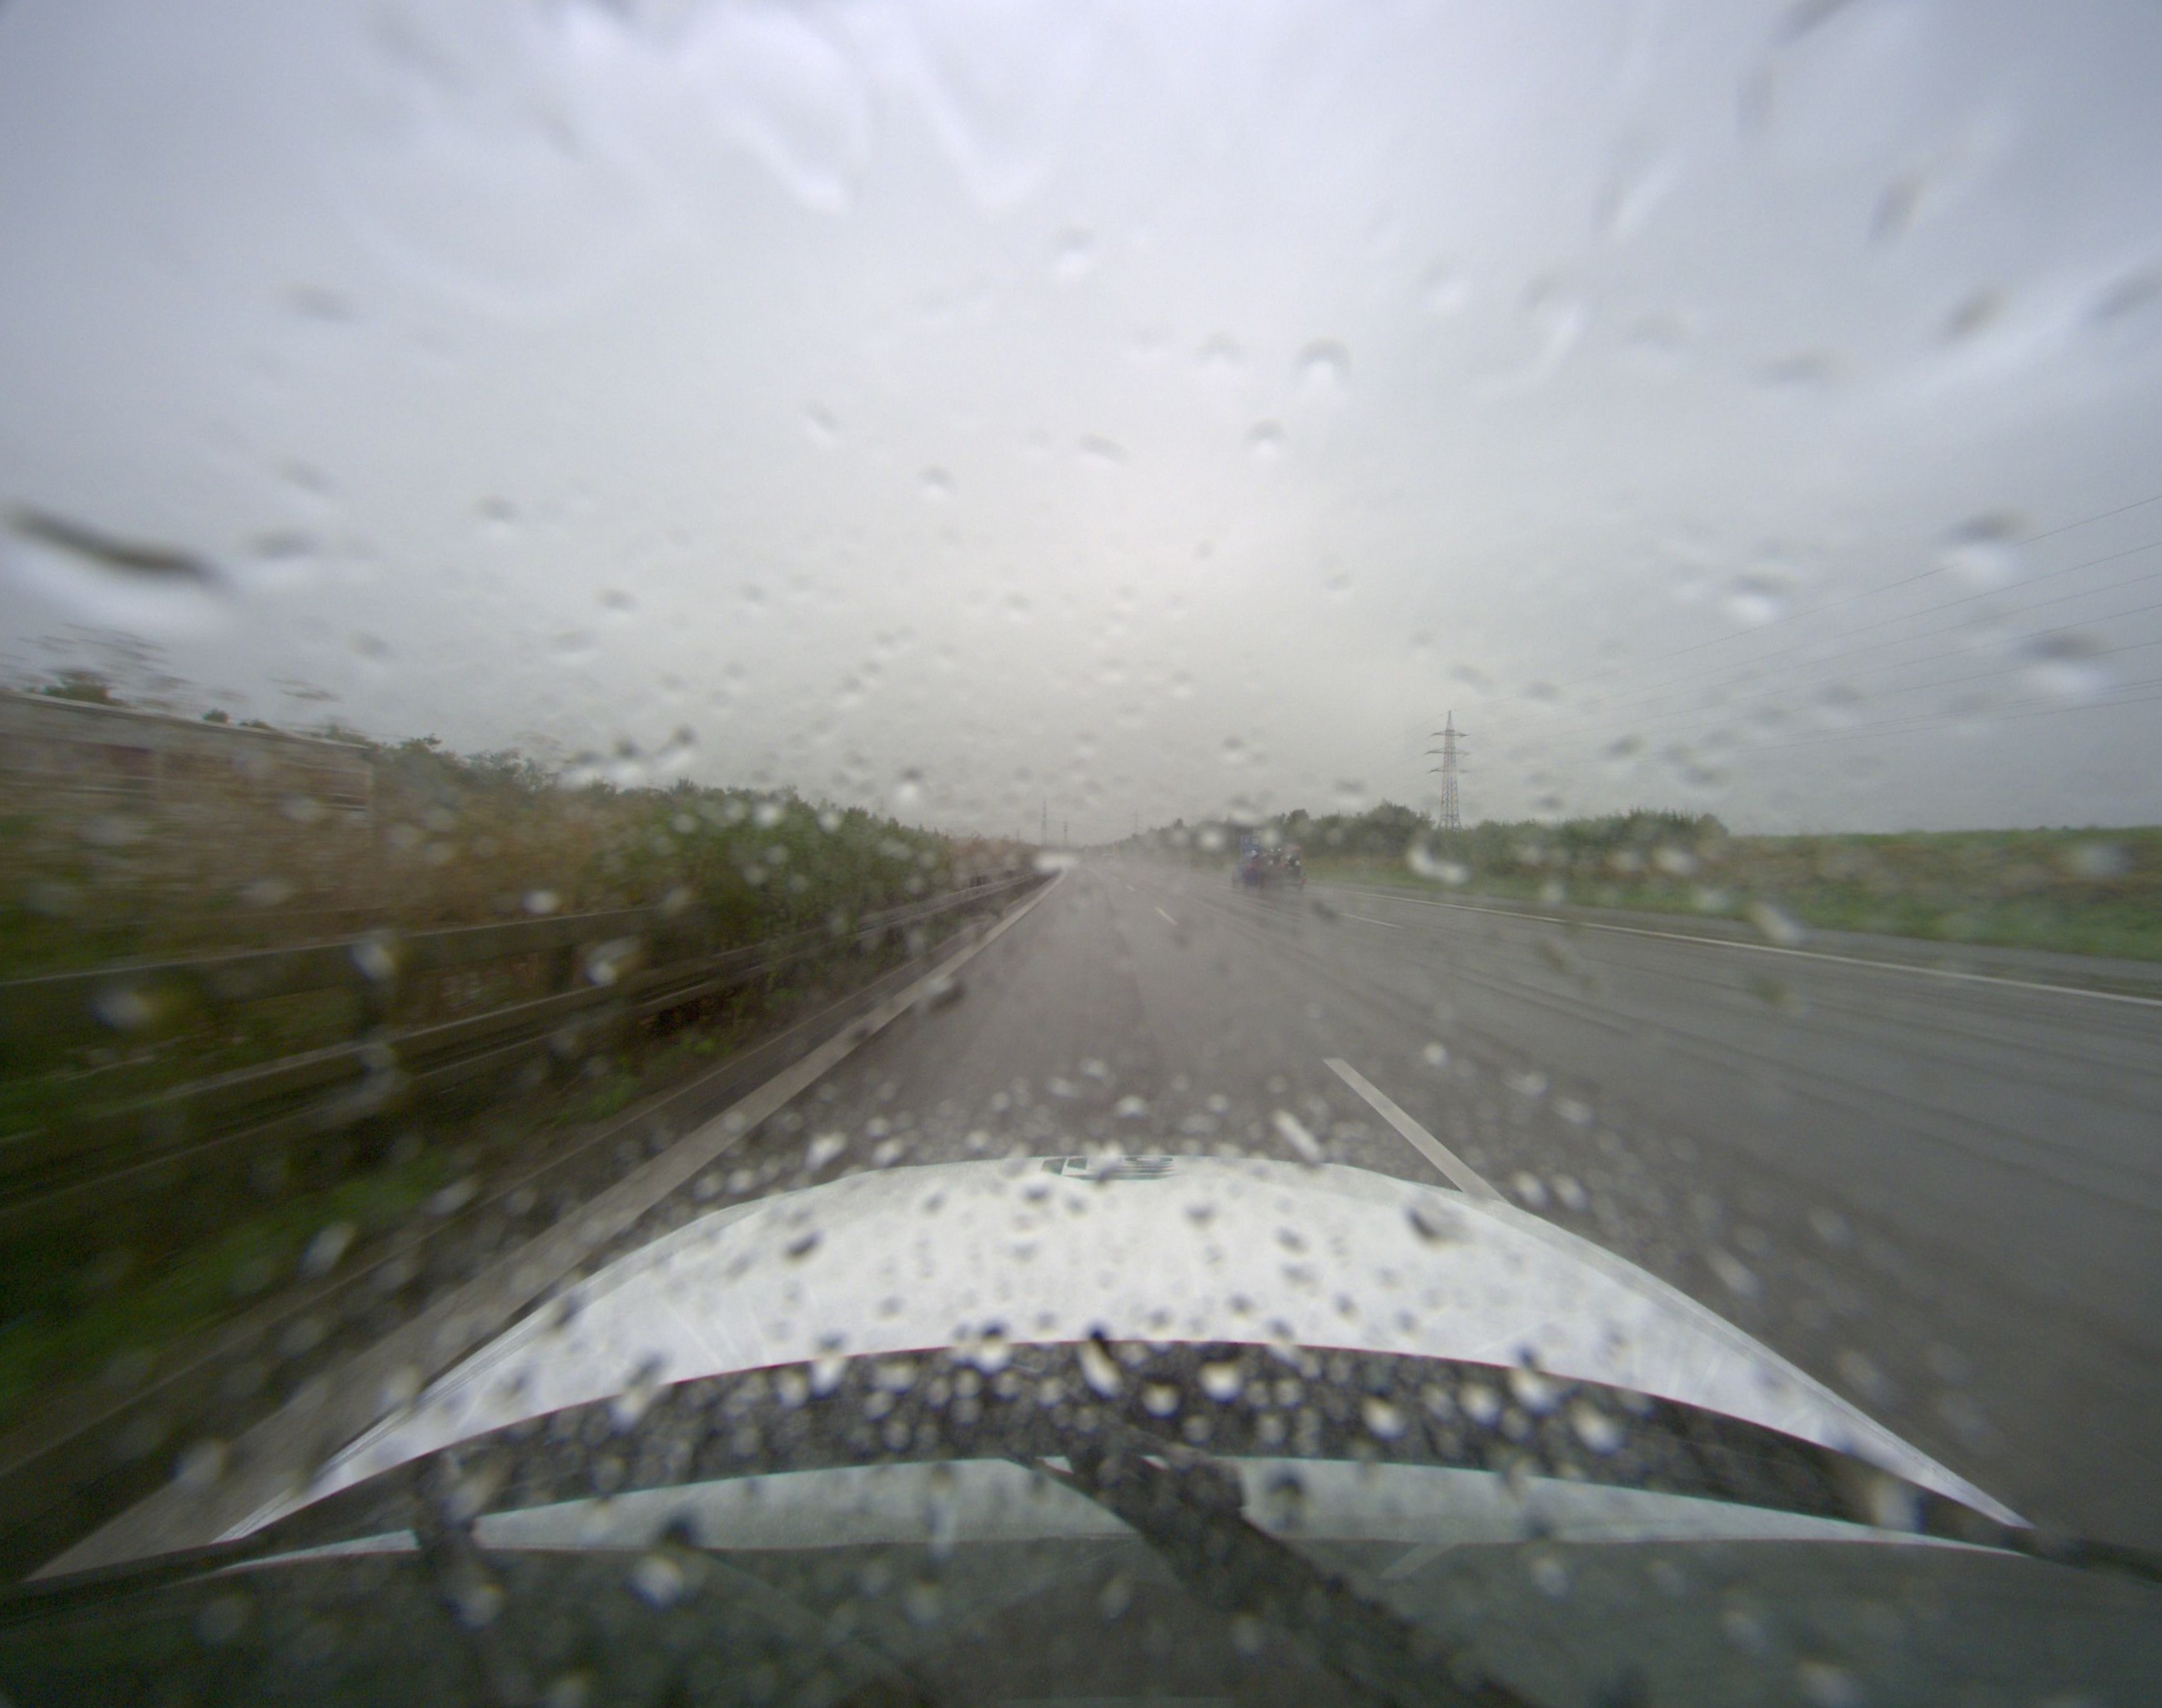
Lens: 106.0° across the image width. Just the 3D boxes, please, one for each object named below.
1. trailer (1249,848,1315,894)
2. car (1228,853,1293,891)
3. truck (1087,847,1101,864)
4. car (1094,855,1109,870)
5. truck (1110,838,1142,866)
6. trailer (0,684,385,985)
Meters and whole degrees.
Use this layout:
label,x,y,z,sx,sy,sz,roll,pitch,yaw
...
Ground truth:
label,x,y,z,sx,sy,sz,roll,pitch,yaw
trailer,8.278,0.685,33.837,1.972,1.785,3.188,-1,-1,0
car,8.263,0.834,37.919,1.987,1.619,4.992,-1,-1,1
truck,3.454,0.383,215.829,3.223,4.311,8.832,-1,0,-1
car,2.772,1.158,110.251,1.986,2.014,4.001,-1,0,1
truck,7.838,-0.241,144.781,4.178,4.630,16.090,-1,-1,-2
trailer,-16.420,-0.263,11.120,2.509,4.221,12.945,-1,0,1
